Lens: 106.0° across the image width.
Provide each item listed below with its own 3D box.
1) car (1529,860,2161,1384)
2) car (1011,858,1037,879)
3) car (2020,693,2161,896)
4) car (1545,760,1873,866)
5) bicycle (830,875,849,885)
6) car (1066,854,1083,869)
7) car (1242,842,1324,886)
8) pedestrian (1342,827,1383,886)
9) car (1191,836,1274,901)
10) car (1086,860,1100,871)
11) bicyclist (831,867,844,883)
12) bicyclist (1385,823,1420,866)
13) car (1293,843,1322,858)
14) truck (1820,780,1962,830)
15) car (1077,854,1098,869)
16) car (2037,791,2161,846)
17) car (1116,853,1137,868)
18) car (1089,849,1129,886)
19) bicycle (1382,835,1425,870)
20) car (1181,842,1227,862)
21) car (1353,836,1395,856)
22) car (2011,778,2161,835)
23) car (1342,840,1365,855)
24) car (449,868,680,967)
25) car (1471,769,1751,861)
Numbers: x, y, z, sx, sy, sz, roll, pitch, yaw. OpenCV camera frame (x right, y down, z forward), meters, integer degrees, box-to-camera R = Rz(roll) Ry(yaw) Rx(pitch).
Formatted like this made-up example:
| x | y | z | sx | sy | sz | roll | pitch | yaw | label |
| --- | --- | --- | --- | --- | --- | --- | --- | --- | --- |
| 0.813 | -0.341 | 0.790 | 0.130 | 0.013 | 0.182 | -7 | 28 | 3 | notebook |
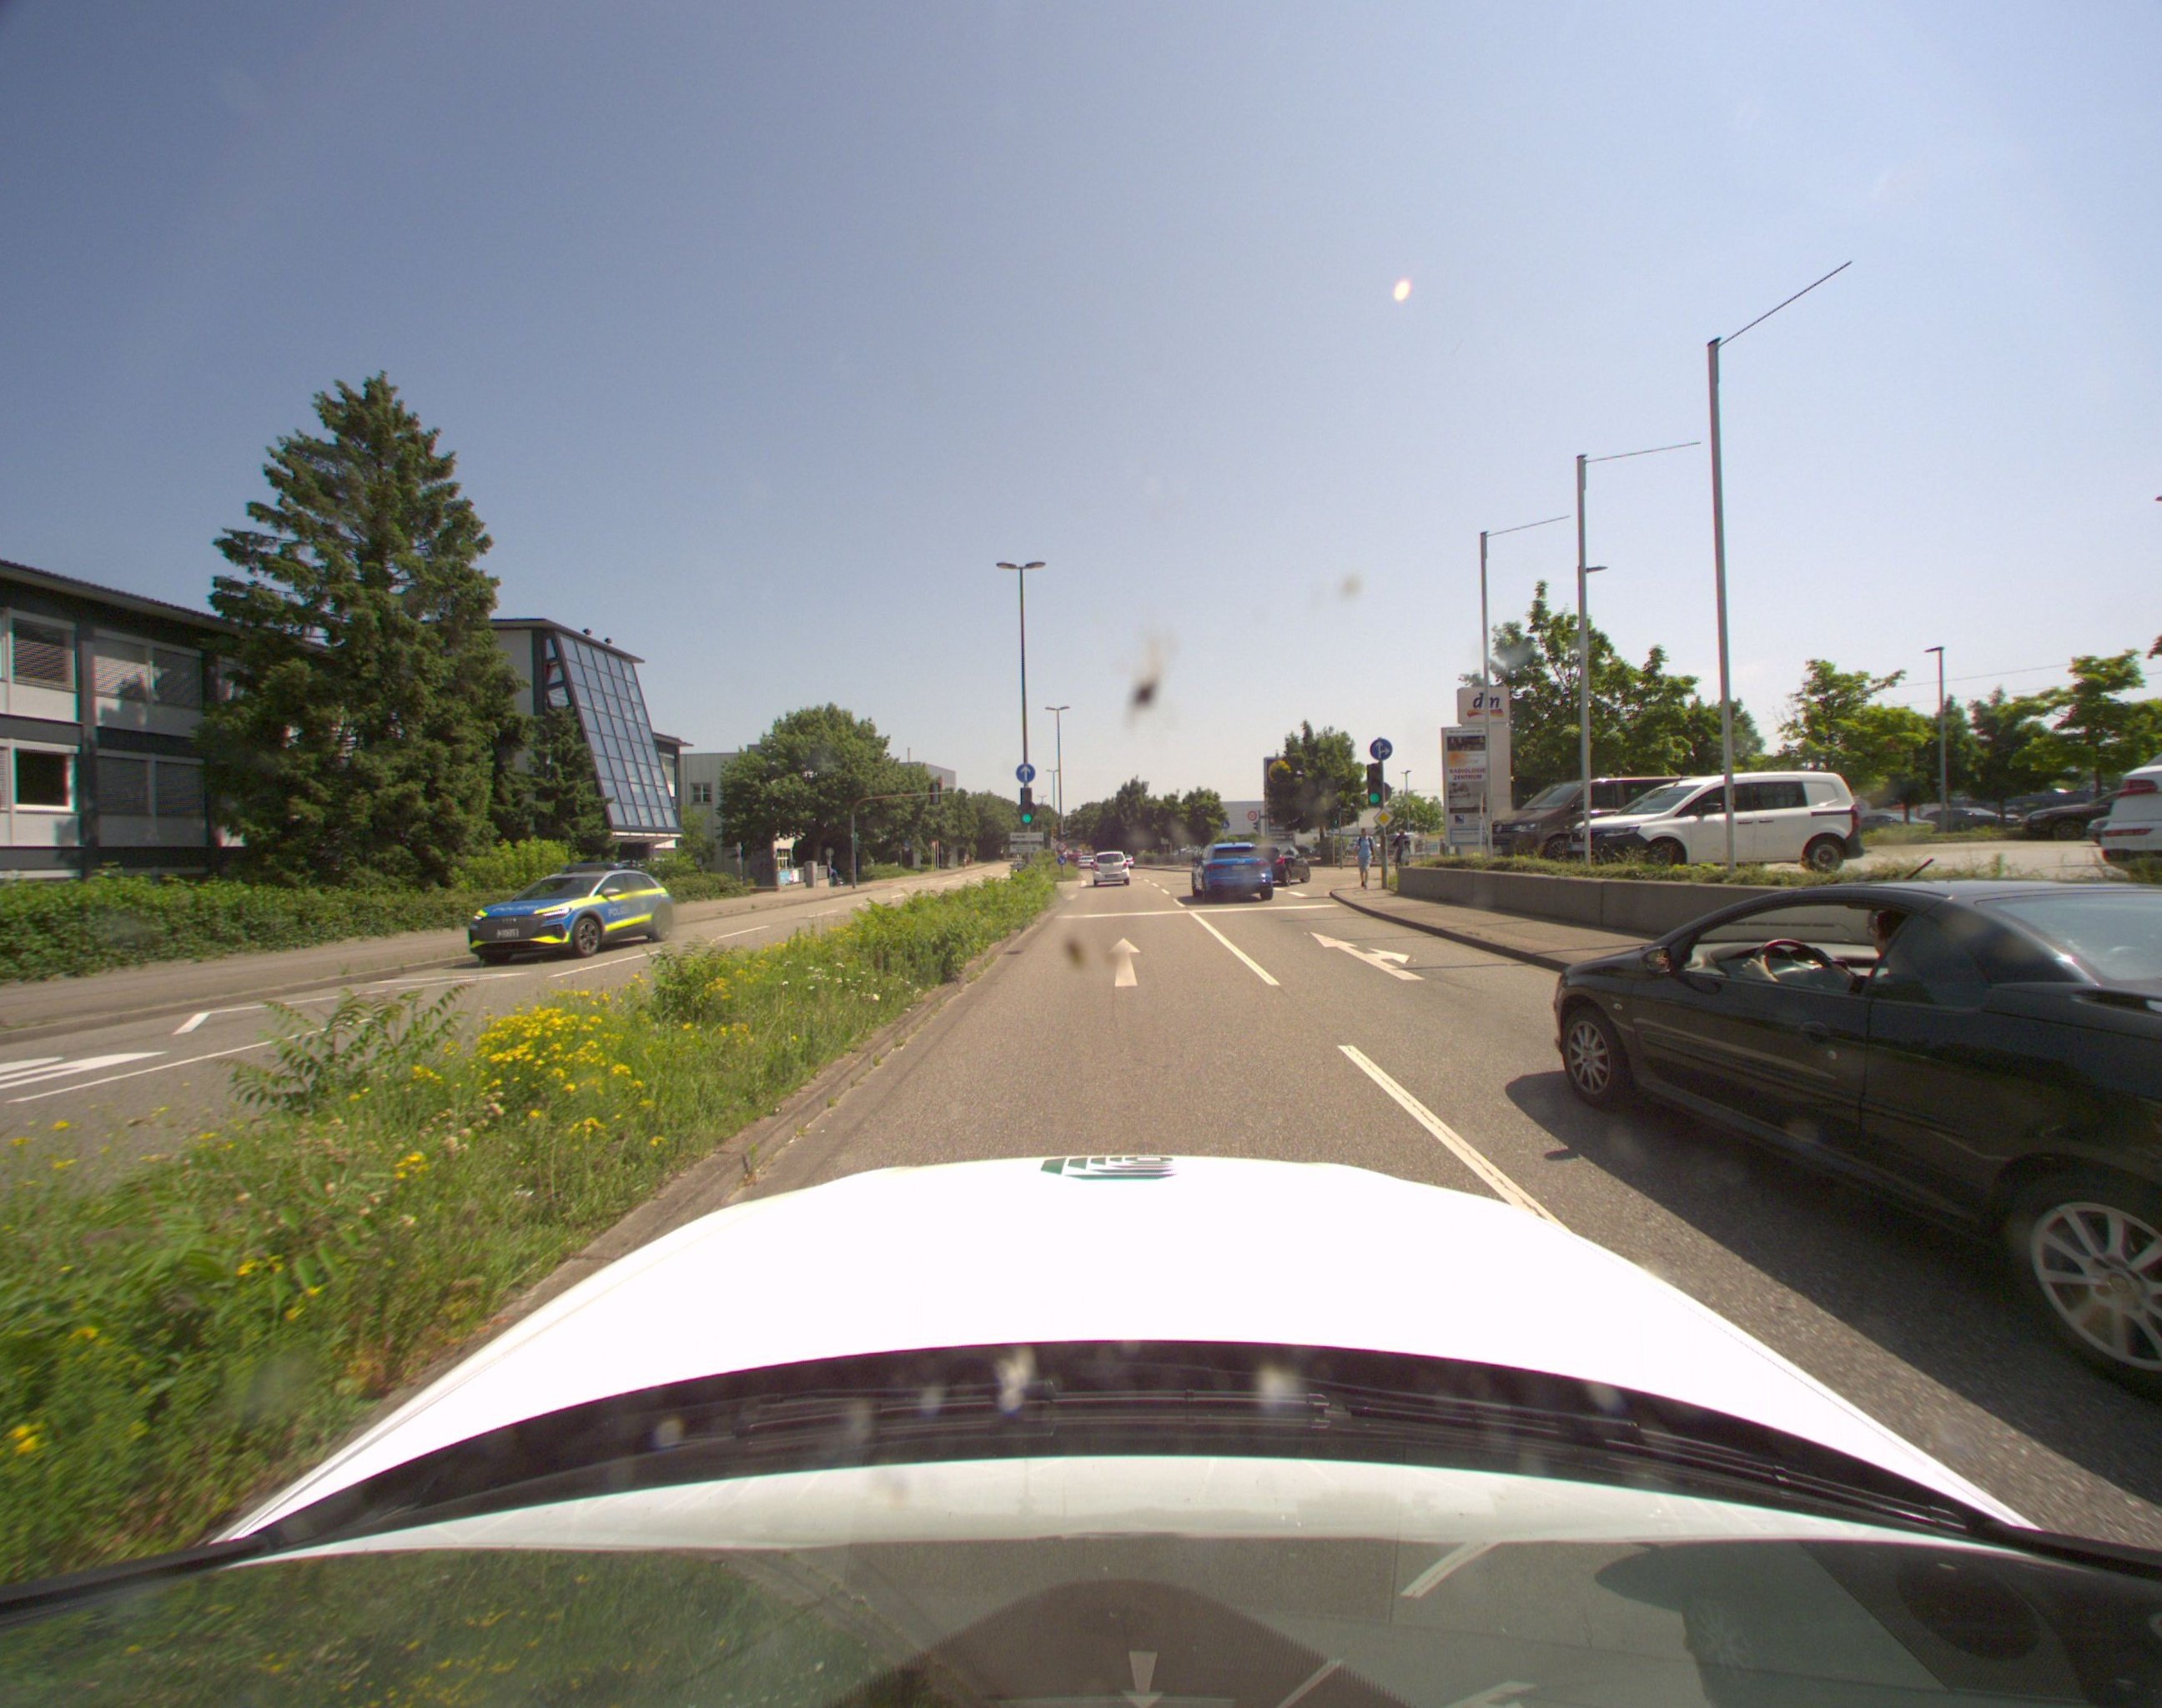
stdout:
| x | y | z | sx | sy | sz | roll | pitch | yaw | label |
| --- | --- | --- | --- | --- | --- | --- | --- | --- | --- |
| 3.670 | 0.716 | 3.500 | 1.631 | 1.356 | 3.500 | 0 | 0 | 1 | car |
| -3.983 | 0.996 | 57.243 | 1.726 | 1.323 | 4.143 | -3 | 0 | -4 | car |
| 10.764 | -0.486 | 6.419 | 4.452 | 1.610 | 2.095 | 0 | -1 | -2 | car |
| 11.167 | -0.682 | 14.760 | 4.393 | 1.699 | 2.001 | 1 | -1 | 2 | car |
| -20.536 | 2.215 | 69.151 | 1.423 | 0.737 | 0.595 | -2 | 0 | -36 | bicycle |
| -0.704 | 0.817 | 94.080 | 1.878 | 1.608 | 4.000 | -2 | 0 | 0 | car |
| 7.173 | 0.336 | 28.725 | 1.600 | 1.401 | 3.454 | -3 | 0 | 35 | car |
| 8.012 | 0.087 | 23.219 | 0.825 | 1.625 | 1.005 | -1 | -2 | 1 | pedestrian |
| 4.206 | 0.363 | 23.256 | 1.800 | 1.592 | 4.354 | -2 | 0 | 4 | car |
| 1.562 | 1.552 | 108.078 | 1.439 | 1.348 | 3.454 | -3 | 0 | -4 | car |
| -20.655 | 1.802 | 69.109 | 0.851 | 1.316 | 0.652 | -2 | 0 | -35 | bicyclist |
| 11.007 | -0.318 | 27.885 | 0.771 | 1.464 | 1.091 | 0 | -1 | 2 | bicyclist |
| 22.821 | -0.308 | 82.098 | 1.618 | 1.394 | 3.712 | -2 | 0 | -3 | car |
| 74.404 | -4.377 | 75.244 | 2.843 | 3.837 | 10.025 | -3 | 0 | -2 | truck |
| 0.594 | 0.744 | 80.621 | 1.880 | 1.354 | 3.996 | 0 | 0 | -2 | car |
| 29.128 | -1.013 | 22.179 | 3.971 | 1.376 | 1.775 | -3 | 1 | 2 | car |
| 4.388 | 0.650 | 79.534 | 1.859 | 1.473 | 4.000 | 0 | -1 | 0 | car |
| 1.260 | 0.589 | 37.203 | 1.633 | 1.552 | 3.324 | -2 | 0 | -1 | car |
| 11.015 | -0.046 | 27.884 | 0.754 | 1.133 | 1.908 | 0 | -1 | 2 | bicycle |
| 12.992 | -0.235 | 86.158 | 4.607 | 1.924 | 1.825 | -2 | 0 | -4 | car |
| 24.280 | -0.634 | 67.588 | 1.731 | 1.394 | 4.075 | -3 | -1 | -3 | car |
| 33.438 | -1.540 | 26.264 | 4.291 | 1.640 | 2.012 | -3 | 0 | 43 | car |
| 28.524 | -0.671 | 85.309 | 1.262 | 1.420 | 2.953 | -3 | 0 | -5 | car |
| -10.004 | 1.132 | 16.264 | 1.889 | 1.560 | 4.284 | -3 | 0 | -2 | car |
| 11.311 | -0.793 | 17.666 | 4.678 | 1.798 | 2.183 | 1 | 0 | 0 | car |
